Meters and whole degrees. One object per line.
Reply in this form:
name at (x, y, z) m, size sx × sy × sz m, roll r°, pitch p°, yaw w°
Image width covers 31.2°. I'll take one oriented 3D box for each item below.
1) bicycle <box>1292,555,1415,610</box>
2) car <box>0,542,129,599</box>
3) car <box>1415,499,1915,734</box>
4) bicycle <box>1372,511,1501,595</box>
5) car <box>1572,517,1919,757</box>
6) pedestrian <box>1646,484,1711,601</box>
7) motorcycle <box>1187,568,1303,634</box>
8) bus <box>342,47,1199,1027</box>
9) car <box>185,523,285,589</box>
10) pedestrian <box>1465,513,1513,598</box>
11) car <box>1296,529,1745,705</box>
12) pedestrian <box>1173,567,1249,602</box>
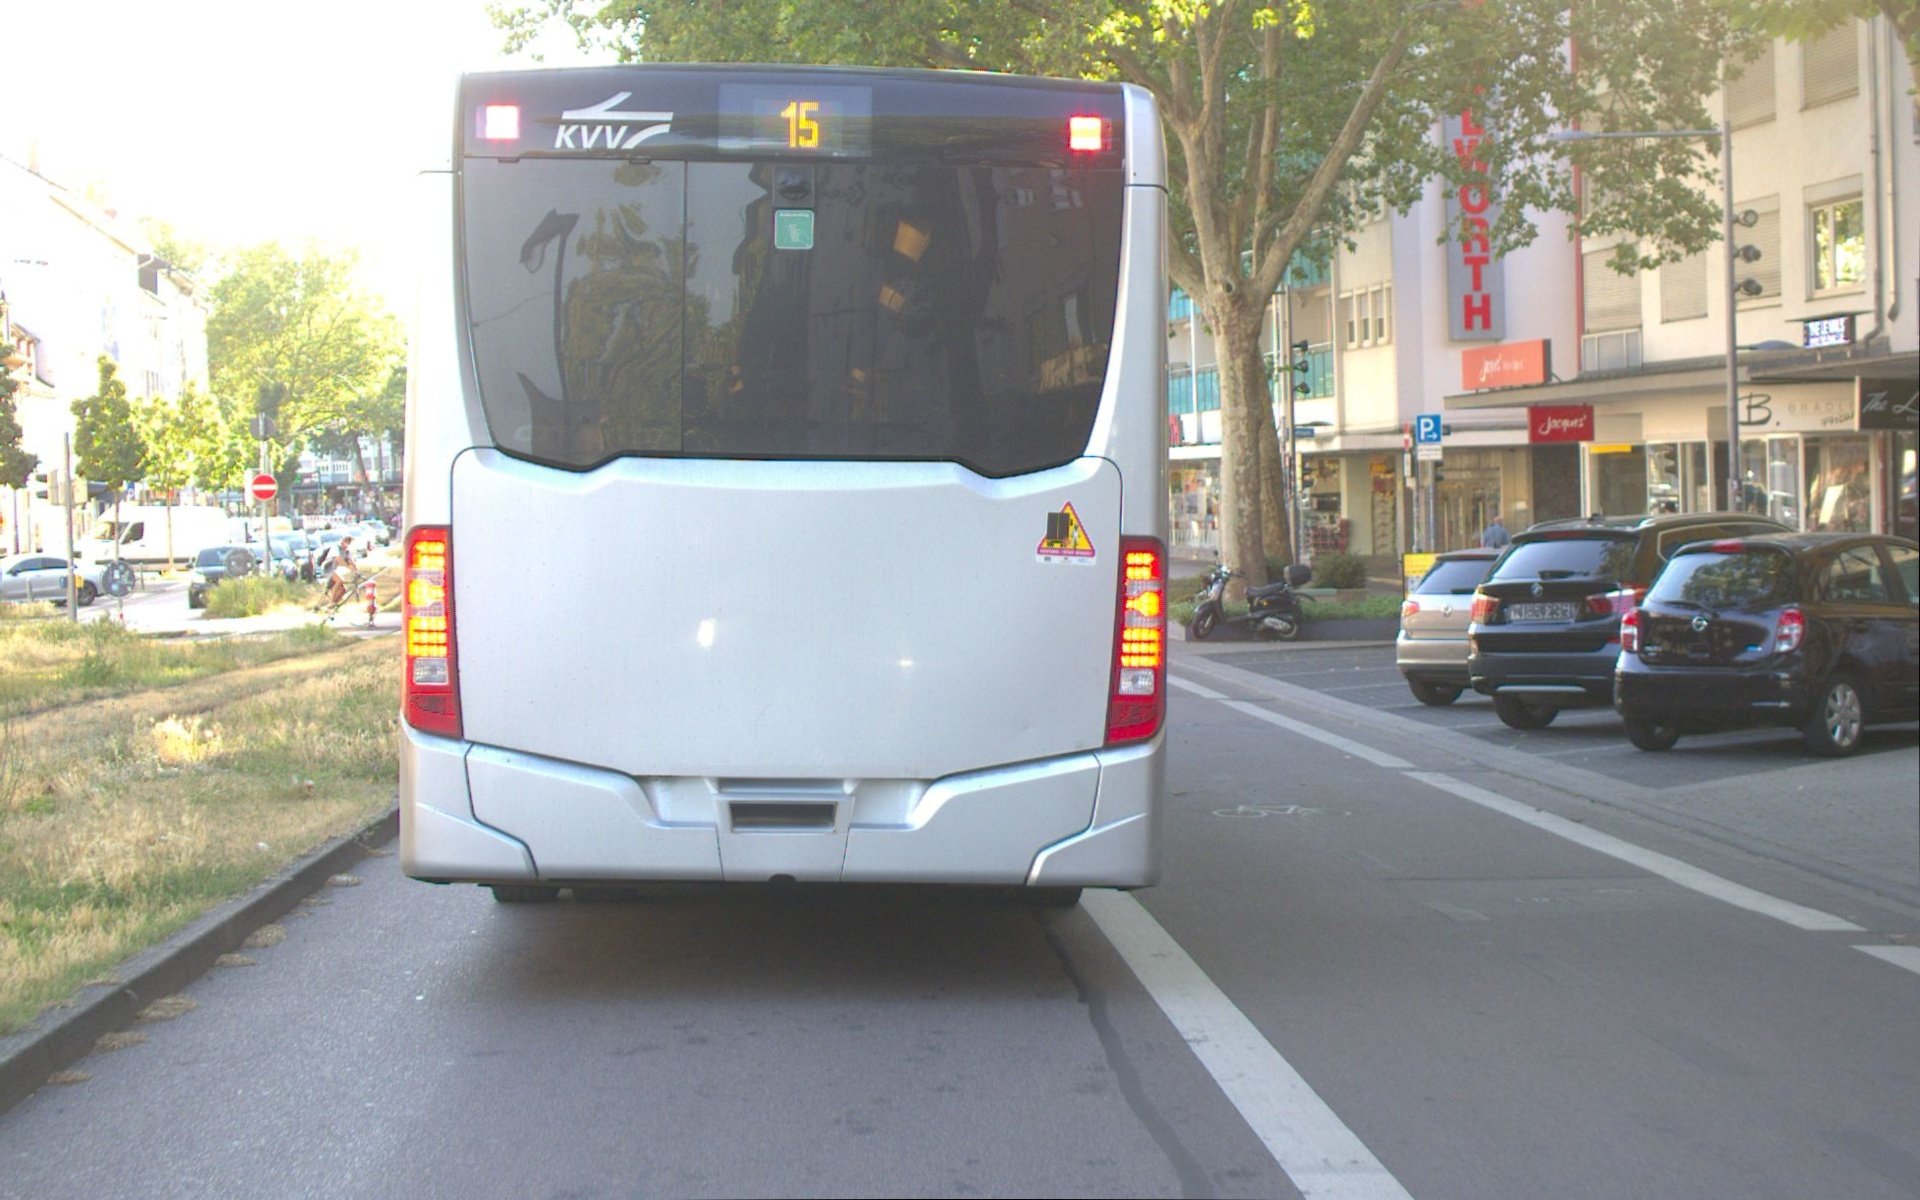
bicycle at (6.150, -0.278, 53.741) m, size 1.876 × 0.762 × 0.711 m, roll -1°, pitch 4°, yaw 6°
car at (-25.040, -0.787, 92.911) m, size 4.539 × 1.407 × 1.999 m, roll -3°, pitch 2°, yaw -38°
car at (5.704, 0.084, 27.550) m, size 4.140 × 1.675 × 1.809 m, roll -3°, pitch 2°, yaw -43°
bicycle at (7.275, -0.717, 52.586) m, size 1.876 × 1.185 × 0.711 m, roll -3°, pitch 1°, yaw 6°
car at (6.172, 0.205, 24.409) m, size 3.599 × 1.535 × 1.741 m, roll -3°, pitch 2°, yaw -43°
pedestrian at (11.172, -0.897, 53.469) m, size 0.780 × 1.787 × 0.764 m, roll -1°, pitch 1°, yaw -2°
motorcycle at (4.087, 0.015, 49.347) m, size 1.570 × 0.889 × 0.545 m, roll -2°, pitch 1°, yaw -5°
bus at (-0.675, -0.302, 14.375) m, size 2.678 × 3.073 × 7.115 m, roll 0°, pitch 2°, yaw -1°
car at (-18.093, -1.121, 85.918) m, size 1.722 × 1.504 × 3.476 m, roll -4°, pitch 1°, yaw -1°
pedestrian at (10.786, -0.917, 70.117) m, size 0.747 × 1.673 × 0.835 m, roll -2°, pitch 3°, yaw -8°
car at (5.267, 0.119, 32.038) m, size 4.166 × 1.446 × 1.809 m, roll -3°, pitch 2°, yaw -40°
pedestrian at (4.404, -0.279, 60.308) m, size 1.254 × 0.587 × 0.482 m, roll -1°, pitch 1°, yaw -4°
